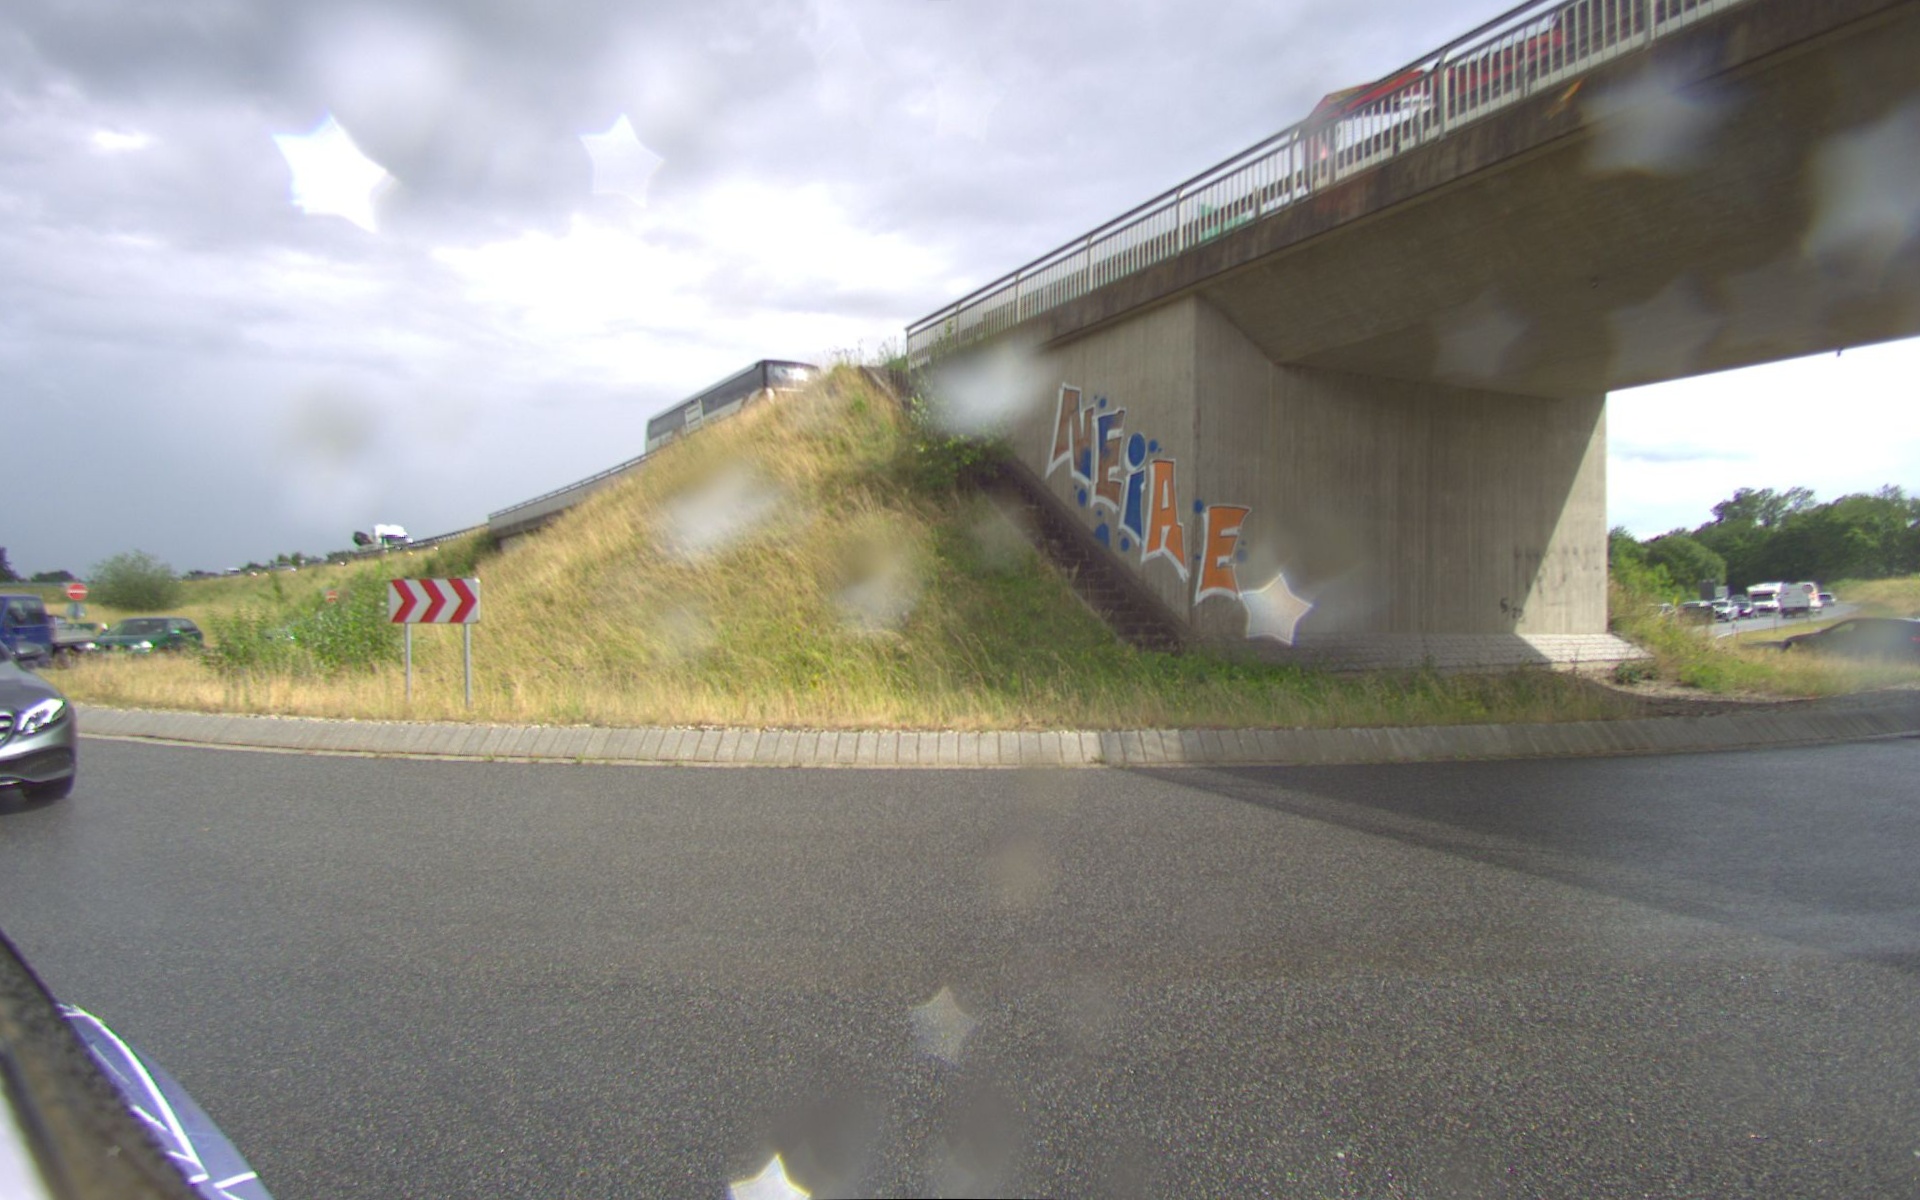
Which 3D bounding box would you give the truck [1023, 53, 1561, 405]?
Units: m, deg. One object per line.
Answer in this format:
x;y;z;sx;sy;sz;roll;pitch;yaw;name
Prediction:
5.258;-6.169;19.302;2.170;2.895;10.856;-1;0;-32;truck

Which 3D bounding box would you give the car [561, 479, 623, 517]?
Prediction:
-20.853;-5.737;57.199;1.688;1.536;4.501;-13;8;-39;car

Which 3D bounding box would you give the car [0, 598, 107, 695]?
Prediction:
-21.625;0.969;22.930;1.861;1.929;5.701;-1;1;-23;car

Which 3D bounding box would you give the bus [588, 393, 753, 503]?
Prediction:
-14.011;-6.785;47.545;2.570;3.103;14.497;-1;0;-36;bus

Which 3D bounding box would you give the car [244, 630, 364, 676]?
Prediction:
-23.298;1.836;36.106;1.552;1.548;3.923;0;-2;4;car

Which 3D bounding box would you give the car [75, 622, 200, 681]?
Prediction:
-22.661;1.383;28.045;1.744;1.496;3.846;1;-2;-25;car

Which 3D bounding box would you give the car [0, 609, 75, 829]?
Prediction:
-8.288;0.839;7.373;4.580;1.402;1.750;-3;-2;35;car

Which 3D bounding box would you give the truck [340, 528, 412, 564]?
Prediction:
-59.070;-5.373;102.300;9.268;3.218;3.120;-1;0;39;truck
